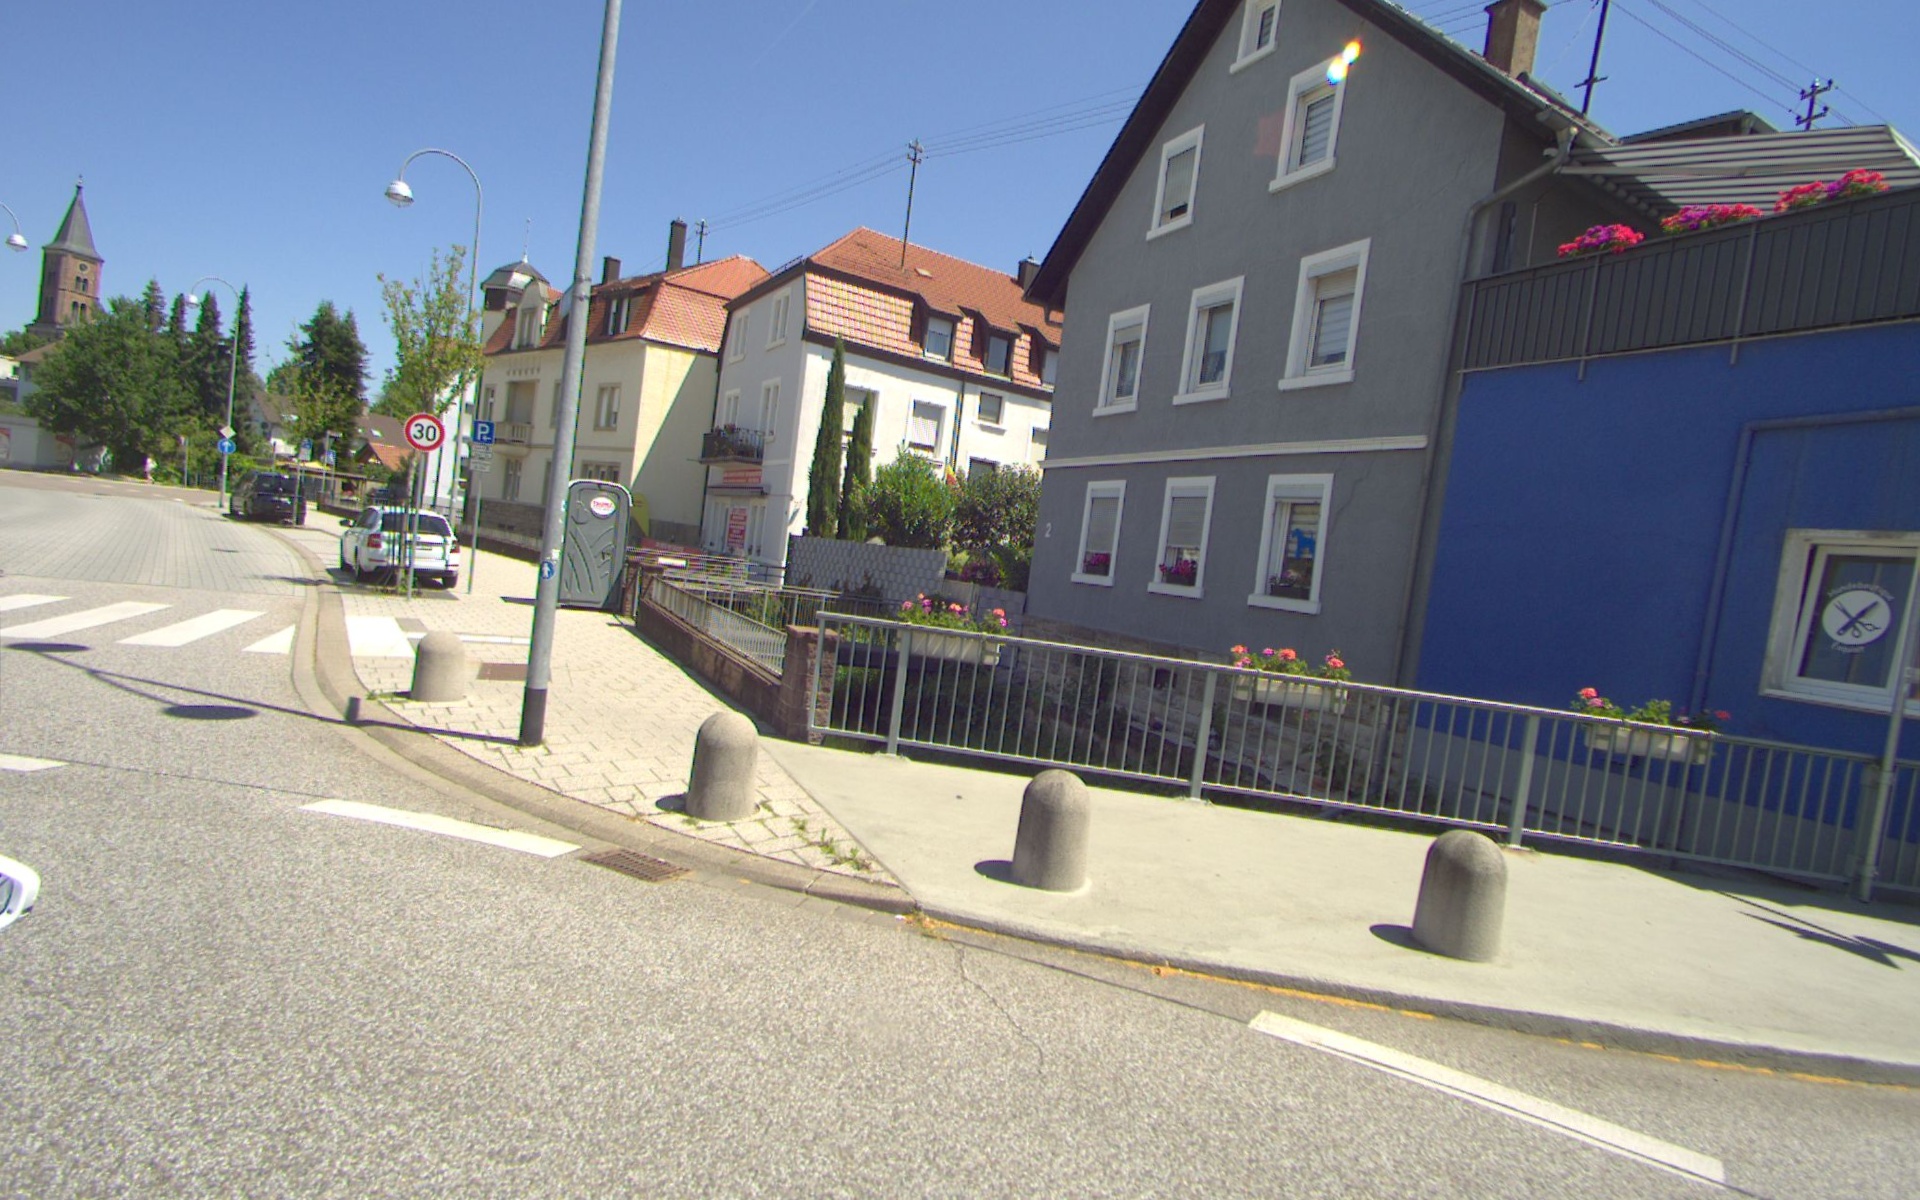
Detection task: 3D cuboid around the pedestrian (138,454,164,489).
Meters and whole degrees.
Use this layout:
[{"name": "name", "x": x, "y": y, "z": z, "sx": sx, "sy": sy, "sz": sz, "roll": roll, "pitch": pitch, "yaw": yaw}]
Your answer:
[{"name": "pedestrian", "x": -46.096, "y": -7.312, "z": 57.290, "sx": 0.539, "sy": 1.838, "sz": 0.845, "roll": 10, "pitch": 4, "yaw": 15}]

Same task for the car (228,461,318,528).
[{"name": "car", "x": -25.815, "y": -3.977, "z": 37.747, "sx": 1.988, "sy": 1.889, "sz": 4.229, "roll": 7, "pitch": 4, "yaw": -45}]

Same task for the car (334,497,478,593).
[{"name": "car", "x": -11.198, "y": -1.156, "z": 20.171, "sx": 1.979, "sy": 1.607, "sz": 4.241, "roll": 0, "pitch": 6, "yaw": -37}]
